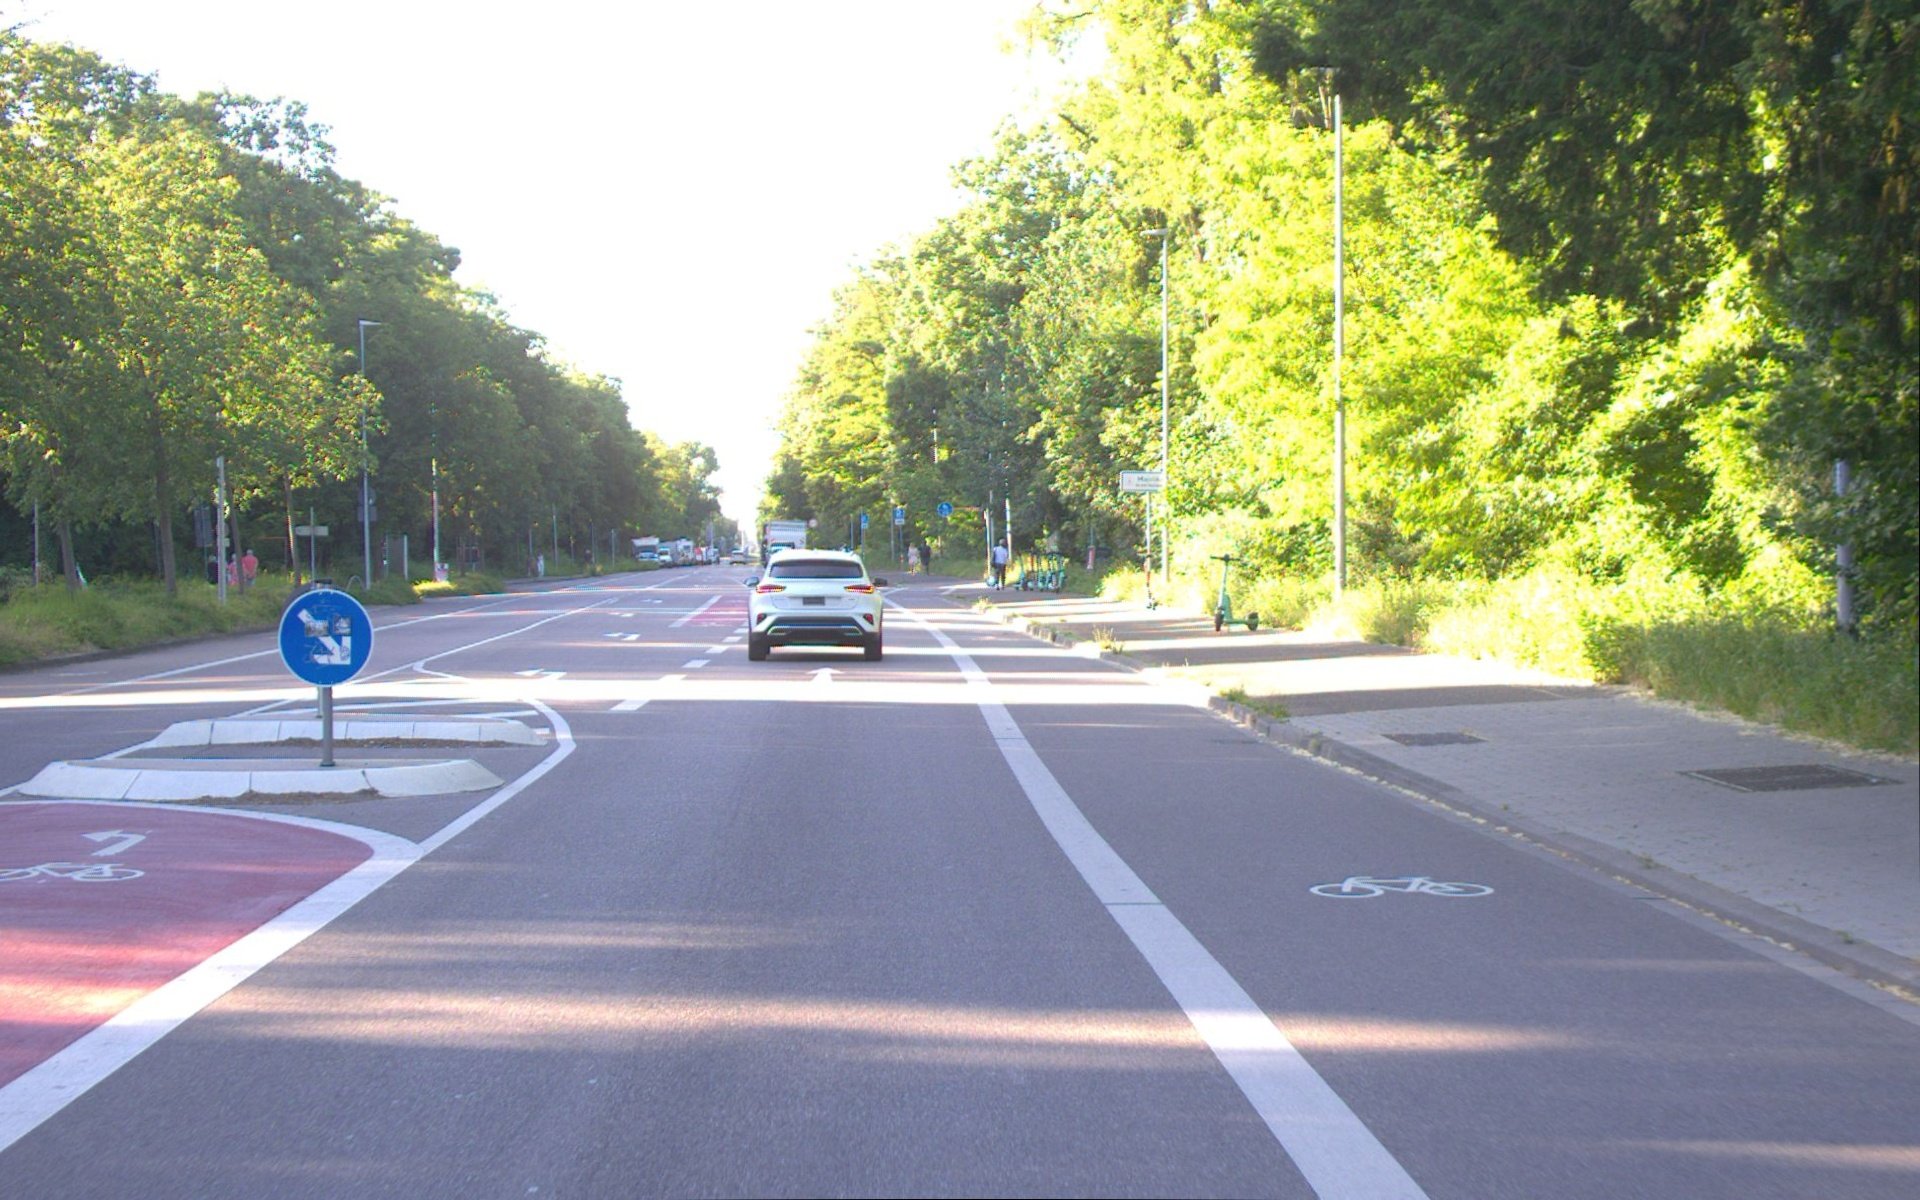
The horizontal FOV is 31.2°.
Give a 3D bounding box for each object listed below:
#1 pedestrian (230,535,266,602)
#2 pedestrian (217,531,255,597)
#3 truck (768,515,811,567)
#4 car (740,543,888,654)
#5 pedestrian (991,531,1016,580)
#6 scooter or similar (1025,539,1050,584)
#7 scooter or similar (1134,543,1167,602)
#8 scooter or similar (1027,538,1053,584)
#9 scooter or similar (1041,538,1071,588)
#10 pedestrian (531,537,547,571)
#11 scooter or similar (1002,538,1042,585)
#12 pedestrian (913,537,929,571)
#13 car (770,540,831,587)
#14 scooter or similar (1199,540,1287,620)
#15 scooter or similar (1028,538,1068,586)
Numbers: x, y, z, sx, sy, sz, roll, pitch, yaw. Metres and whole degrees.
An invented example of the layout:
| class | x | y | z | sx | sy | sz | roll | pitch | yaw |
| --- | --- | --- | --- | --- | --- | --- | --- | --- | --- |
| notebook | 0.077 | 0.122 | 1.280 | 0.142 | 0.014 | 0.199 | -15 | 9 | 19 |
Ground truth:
| class | x | y | z | sx | sy | sz | roll | pitch | yaw |
| --- | --- | --- | --- | --- | --- | --- | --- | --- | --- |
| pedestrian | -21.925 | -0.973 | 105.895 | 0.718 | 2.007 | 0.746 | -1 | 1 | 28 |
| pedestrian | -22.301 | -1.122 | 105.915 | 0.718 | 2.007 | 0.873 | -1 | 1 | 29 |
| truck | -11.933 | -4.150 | 240.218 | 2.799 | 3.558 | 8.036 | 0 | 1 | -4 |
| car | -2.054 | -0.051 | 47.460 | 1.761 | 1.454 | 3.819 | 1 | 1 | -6 |
| pedestrian | 1.412 | -1.445 | 110.929 | 0.755 | 1.558 | 0.802 | -1 | 1 | 2 |
| scooter or similar | 2.502 | -1.252 | 110.881 | 0.682 | 1.418 | 1.682 | -1 | 1 | -3 |
| scooter or similar | 4.045 | -0.593 | 73.078 | 0.533 | 1.245 | 1.541 | -1 | 1 | -3 |
| scooter or similar | 2.500 | -1.242 | 107.825 | 0.682 | 1.418 | 1.682 | -1 | 1 | -3 |
| scooter or similar | 2.753 | -1.075 | 98.814 | 0.682 | 1.418 | 1.682 | -1 | 1 | -3 |
| pedestrian | -25.621 | -2.814 | 209.394 | 0.863 | 2.007 | 1.269 | -1 | 1 | -4 |
| scooter or similar | 1.919 | -1.200 | 106.491 | 0.682 | 1.418 | 1.682 | -1 | 1 | -18 |
| pedestrian | -1.917 | -2.226 | 167.115 | 0.698 | 1.647 | 0.876 | -1 | 1 | -3 |
| car | -5.417 | -1.249 | 116.927 | 1.993 | 1.514 | 4.001 | -1 | 1 | -2 |
| scooter or similar | 4.548 | -0.322 | 55.230 | 0.534 | 1.245 | 1.537 | 0 | 1 | 44 |
| scooter or similar | 2.627 | -1.149 | 102.764 | 0.682 | 1.418 | 1.682 | -1 | 1 | -16 |
